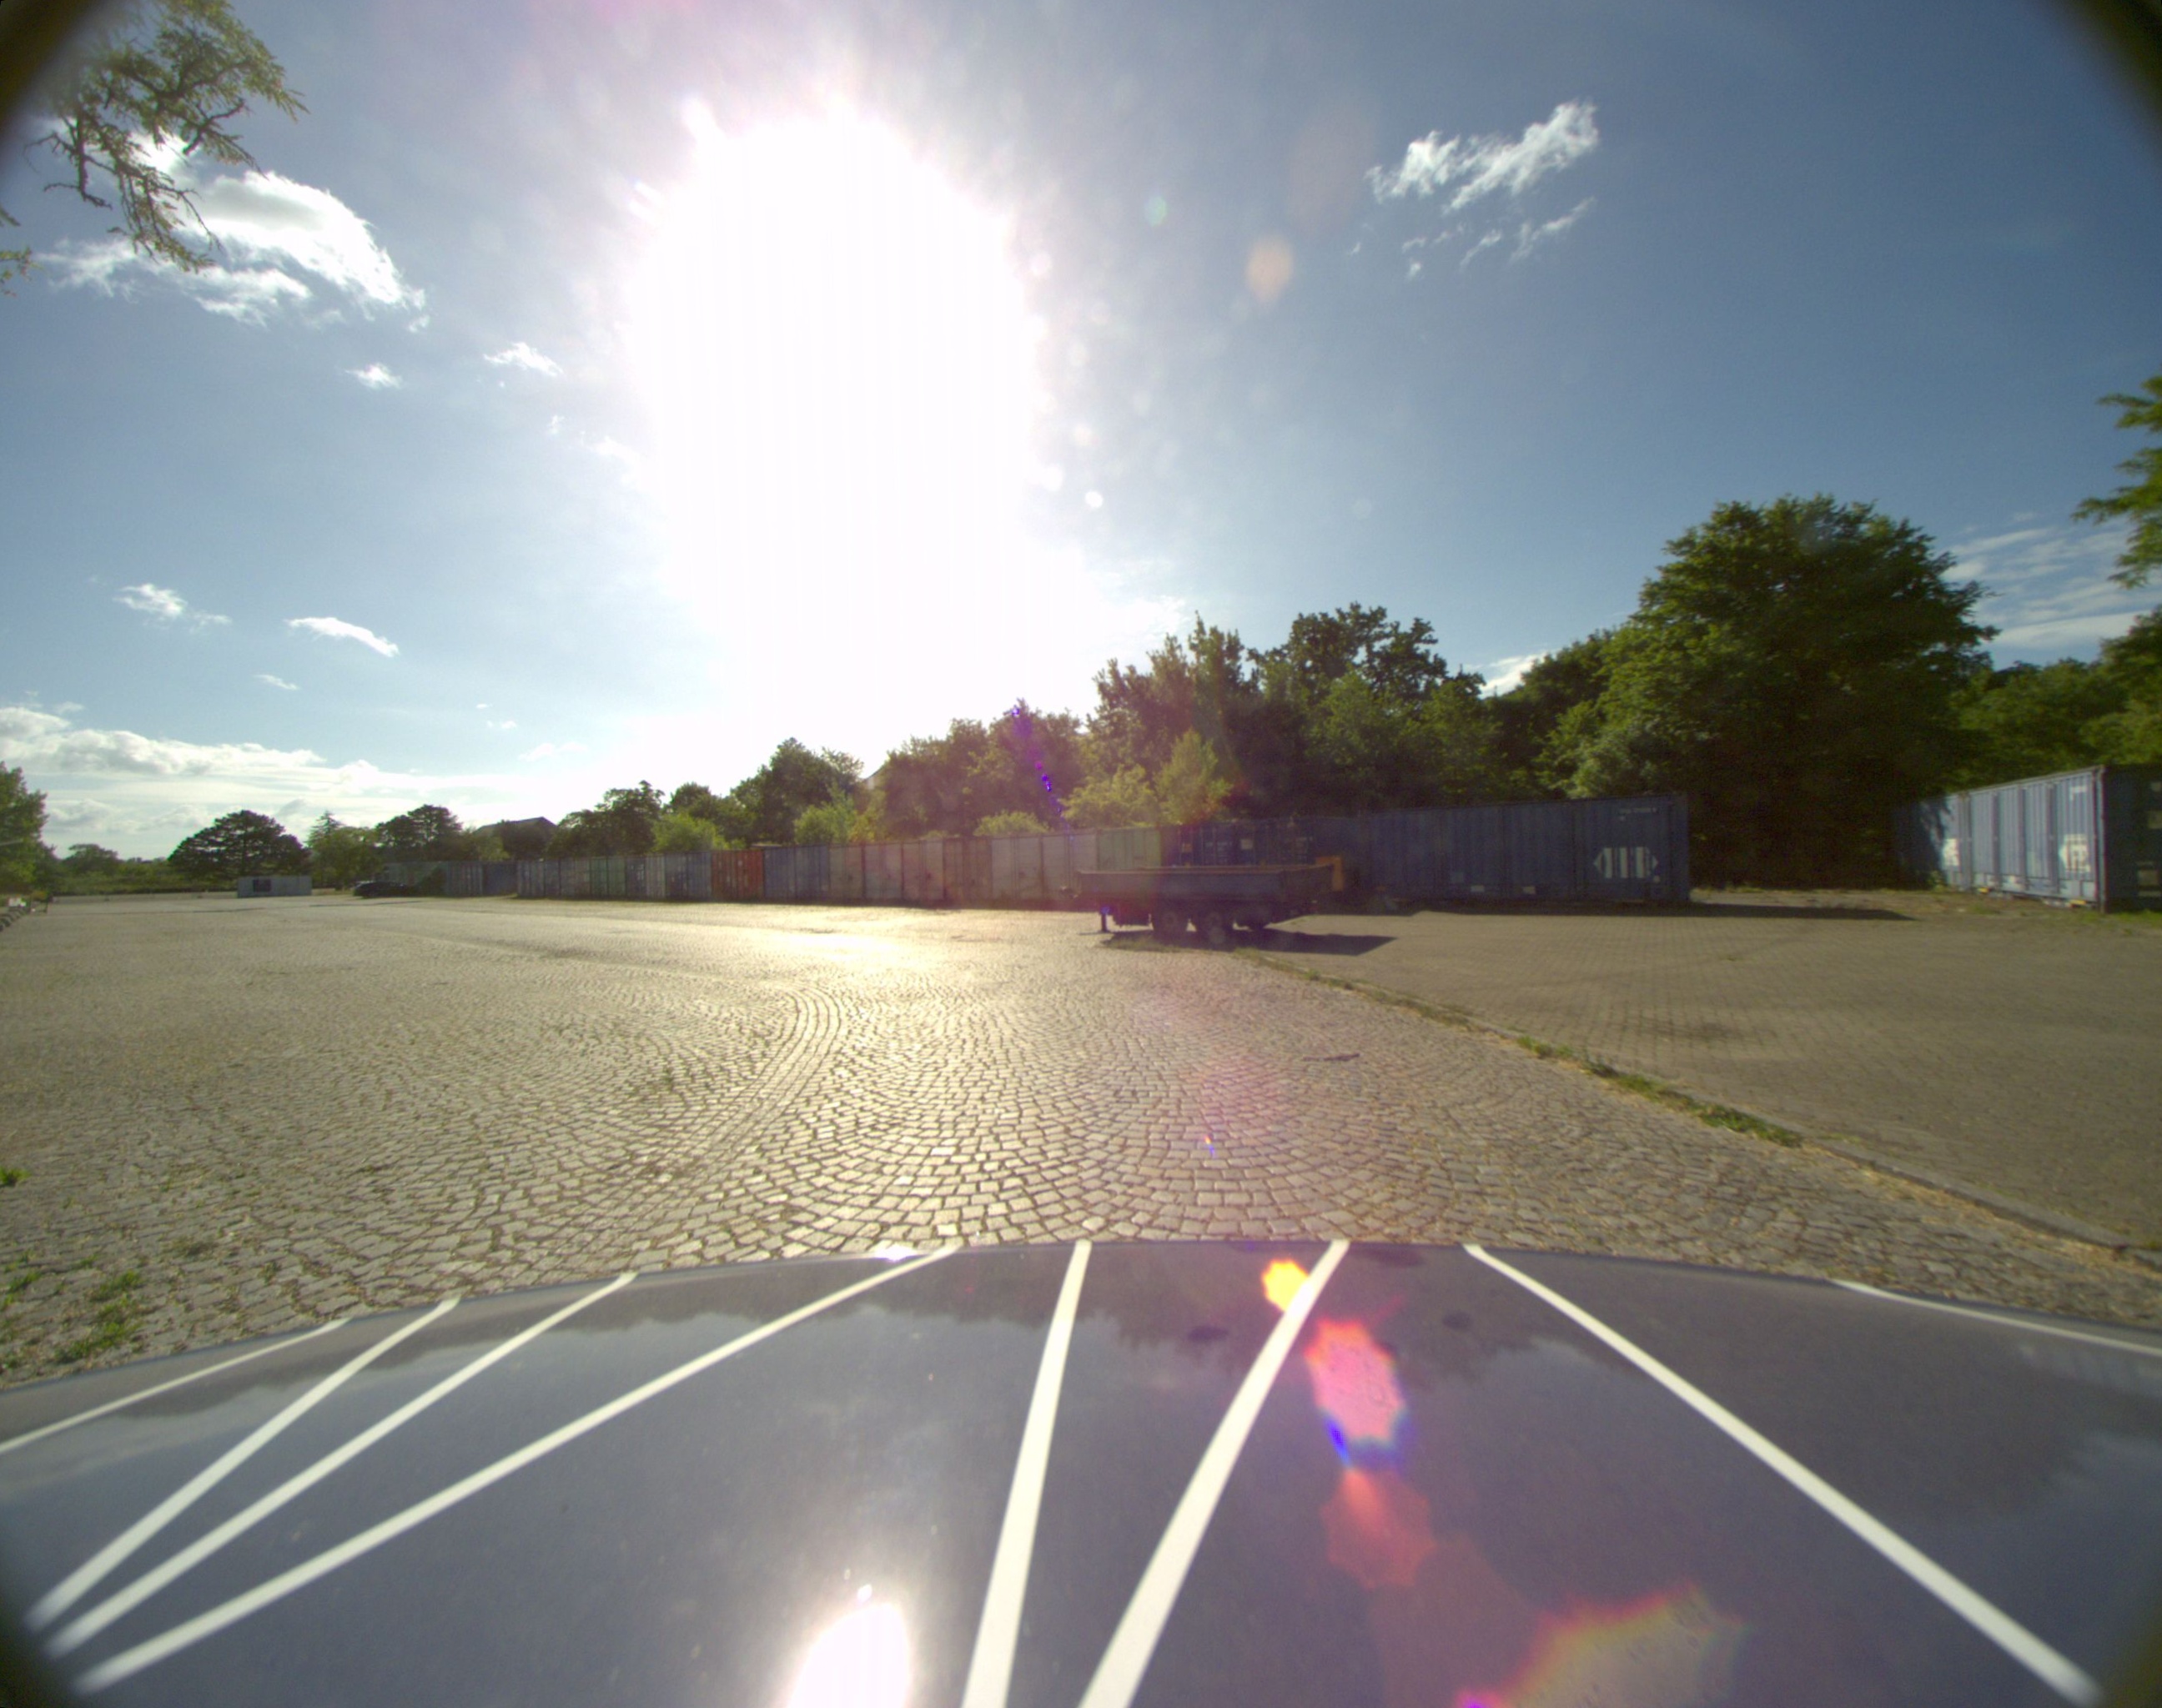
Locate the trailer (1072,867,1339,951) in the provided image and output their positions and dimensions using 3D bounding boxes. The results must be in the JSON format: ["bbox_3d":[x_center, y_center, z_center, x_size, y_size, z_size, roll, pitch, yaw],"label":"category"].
[{"bbox_3d":[2.562,1.040,16.053,4.848,1.406,2.654,-1,1,37],"label":"trailer"}]

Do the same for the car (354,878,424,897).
[{"bbox_3d":[-60.300,2.868,66.275,1.994,1.289,4.122,-1,2,35],"label":"car"}]
